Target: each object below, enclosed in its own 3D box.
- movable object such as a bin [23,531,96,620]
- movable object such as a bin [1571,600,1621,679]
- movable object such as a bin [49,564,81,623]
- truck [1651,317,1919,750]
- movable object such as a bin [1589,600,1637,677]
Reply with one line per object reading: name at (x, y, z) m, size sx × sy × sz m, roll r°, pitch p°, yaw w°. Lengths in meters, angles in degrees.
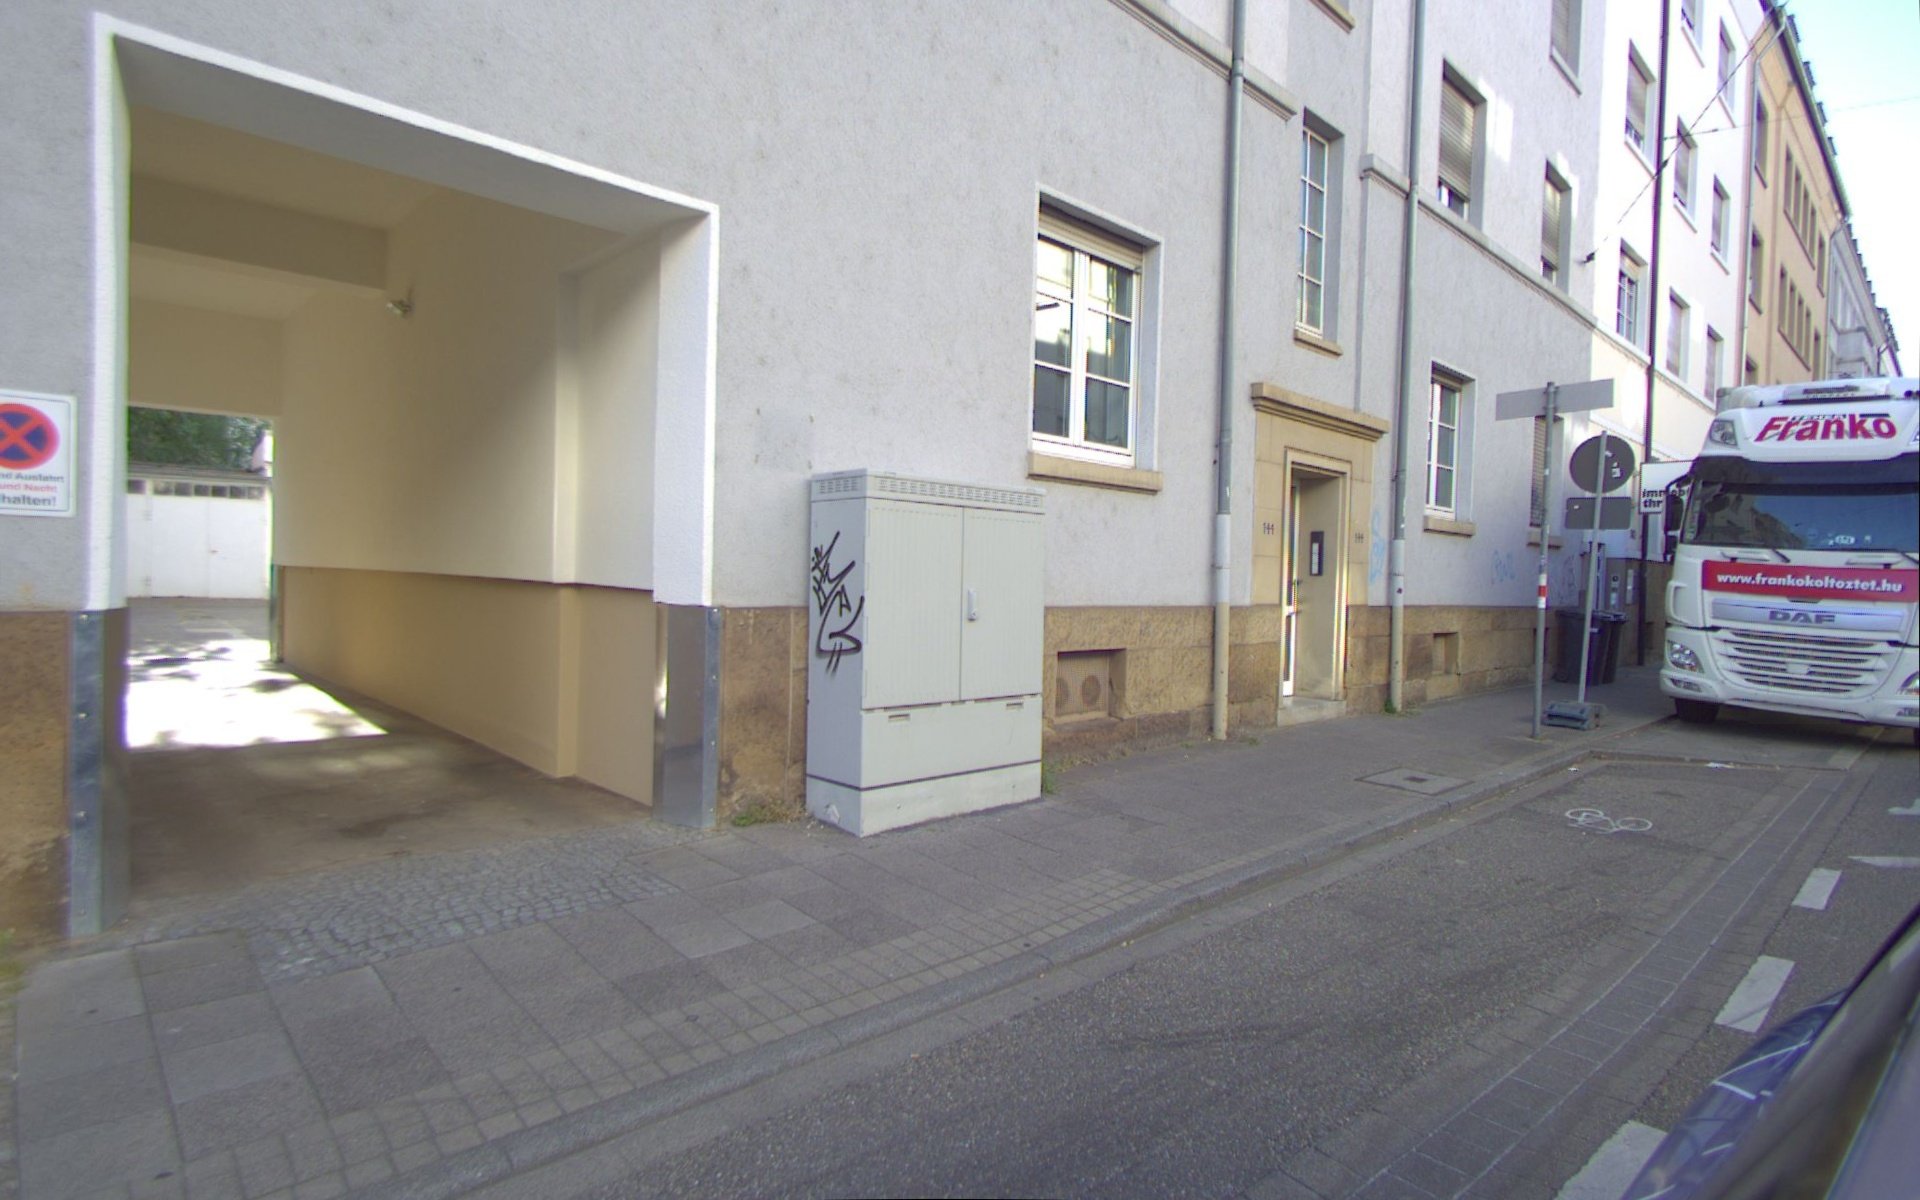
movable object such as a bin at (-14.865, -0.412, 16.711) m, size 0.874 × 1.409 × 0.758 m, roll 0°, pitch 4°, yaw -44°
movable object such as a bin at (9.157, 0.549, 14.577) m, size 0.511 × 1.106 × 0.488 m, roll 0°, pitch 0°, yaw 45°
movable object such as a bin at (-14.300, -0.111, 16.172) m, size 0.366 × 0.919 × 0.420 m, roll 0°, pitch 3°, yaw -44°
truck at (12.603, -0.605, 13.841) m, size 11.511 × 4.012 × 2.894 m, roll 0°, pitch 0°, yaw -44°
movable object such as a bin at (9.647, 0.550, 14.958) m, size 0.511 × 1.106 × 0.488 m, roll 0°, pitch 0°, yaw 45°
